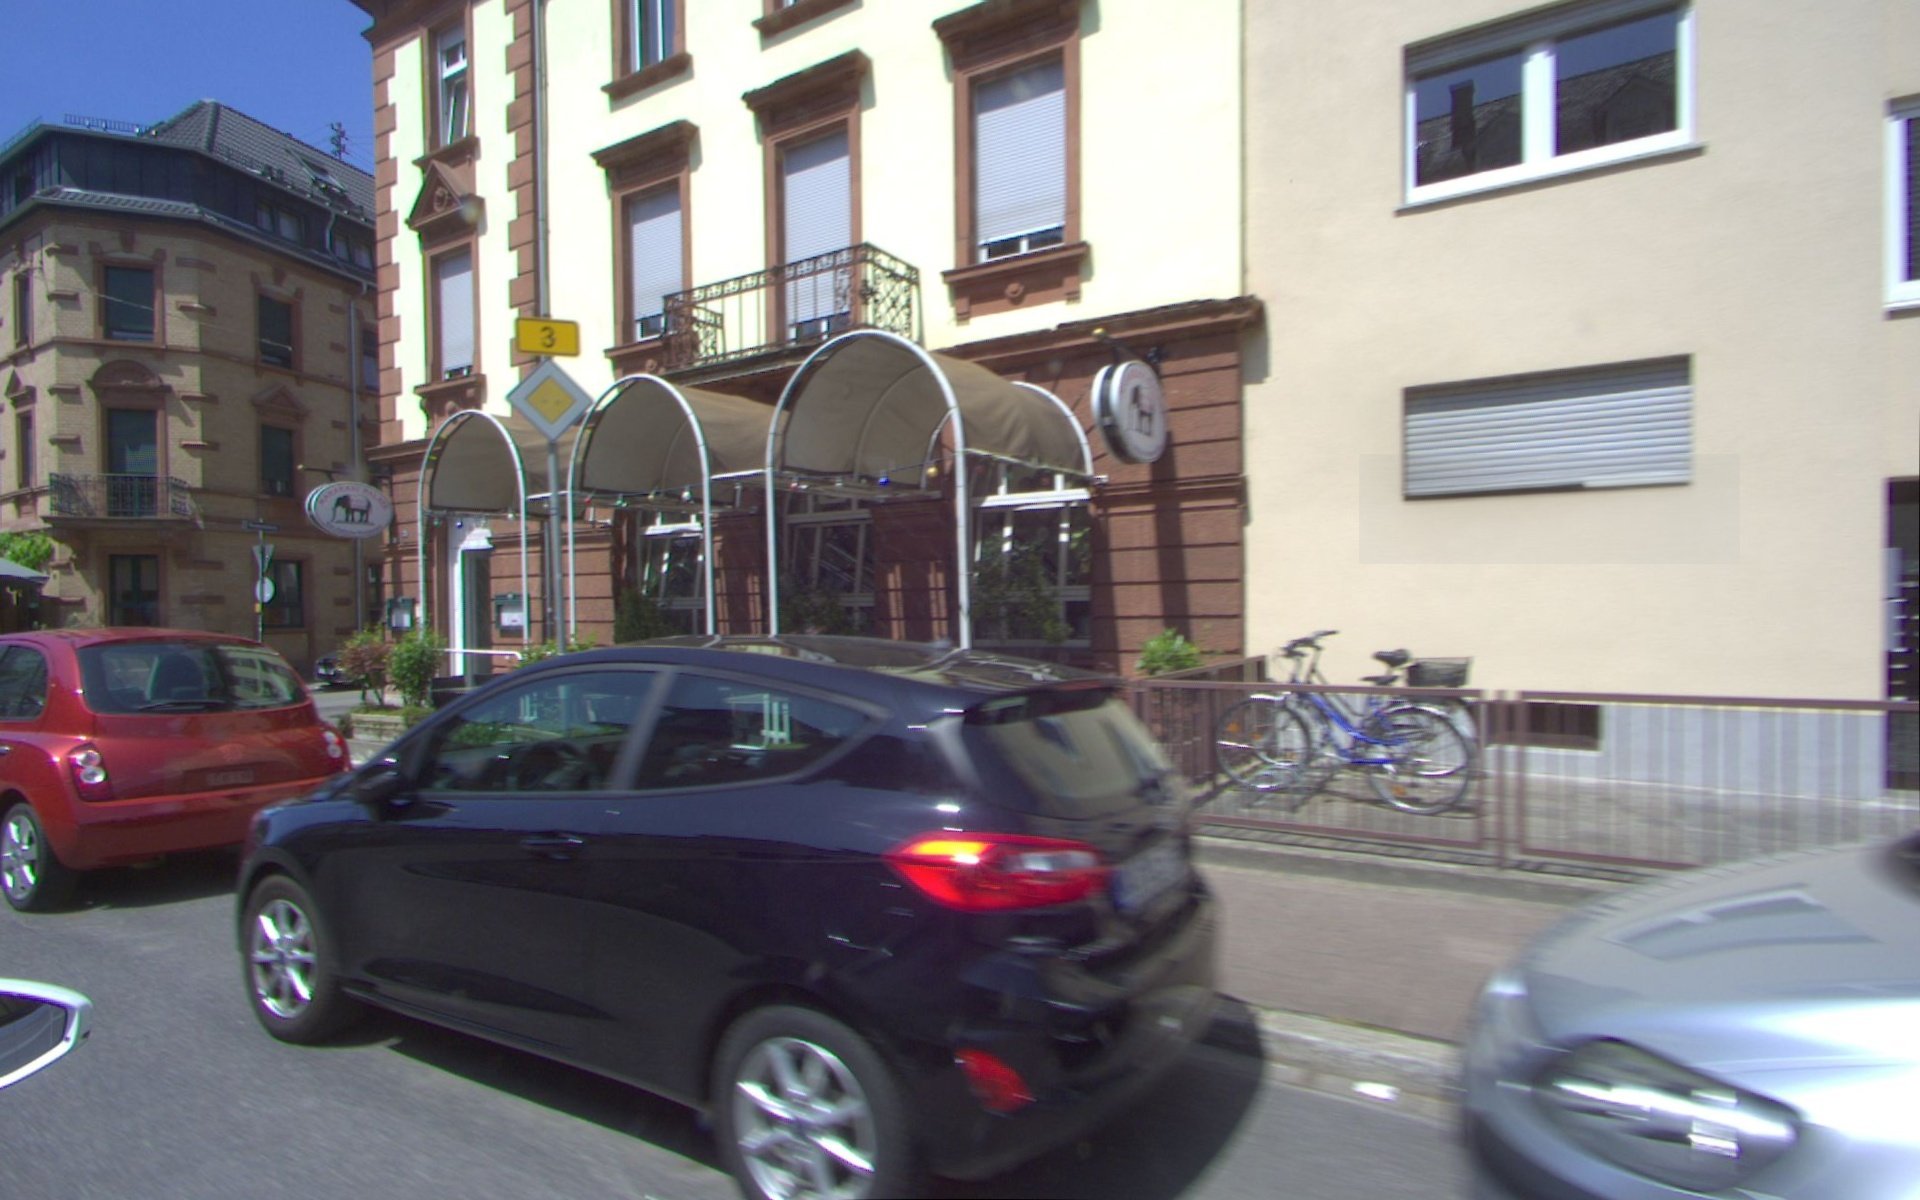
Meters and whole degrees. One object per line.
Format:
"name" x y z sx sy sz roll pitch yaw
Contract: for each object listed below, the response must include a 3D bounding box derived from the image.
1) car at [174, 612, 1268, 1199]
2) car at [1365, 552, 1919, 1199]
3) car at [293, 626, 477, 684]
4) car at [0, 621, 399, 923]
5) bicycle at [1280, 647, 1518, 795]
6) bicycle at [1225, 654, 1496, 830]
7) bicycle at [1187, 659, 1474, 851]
"car" -1.045 0.840 3.718 3.875 1.497 1.755 -1 -3 33
"car" 2.821 0.749 1.324 4.008 1.571 1.755 -1 -3 33
"car" -15.238 1.416 26.763 1.883 1.382 3.992 0 -1 21
"car" -5.735 0.917 6.669 3.725 1.497 1.757 -1 -3 29
"bicycle" 3.307 0.871 7.601 1.604 0.996 0.550 0 0 27
"bicycle" 2.649 0.893 6.742 1.612 0.996 0.548 -1 -1 43
"bicycle" 2.268 0.897 6.265 1.612 0.996 0.548 -1 -1 43
